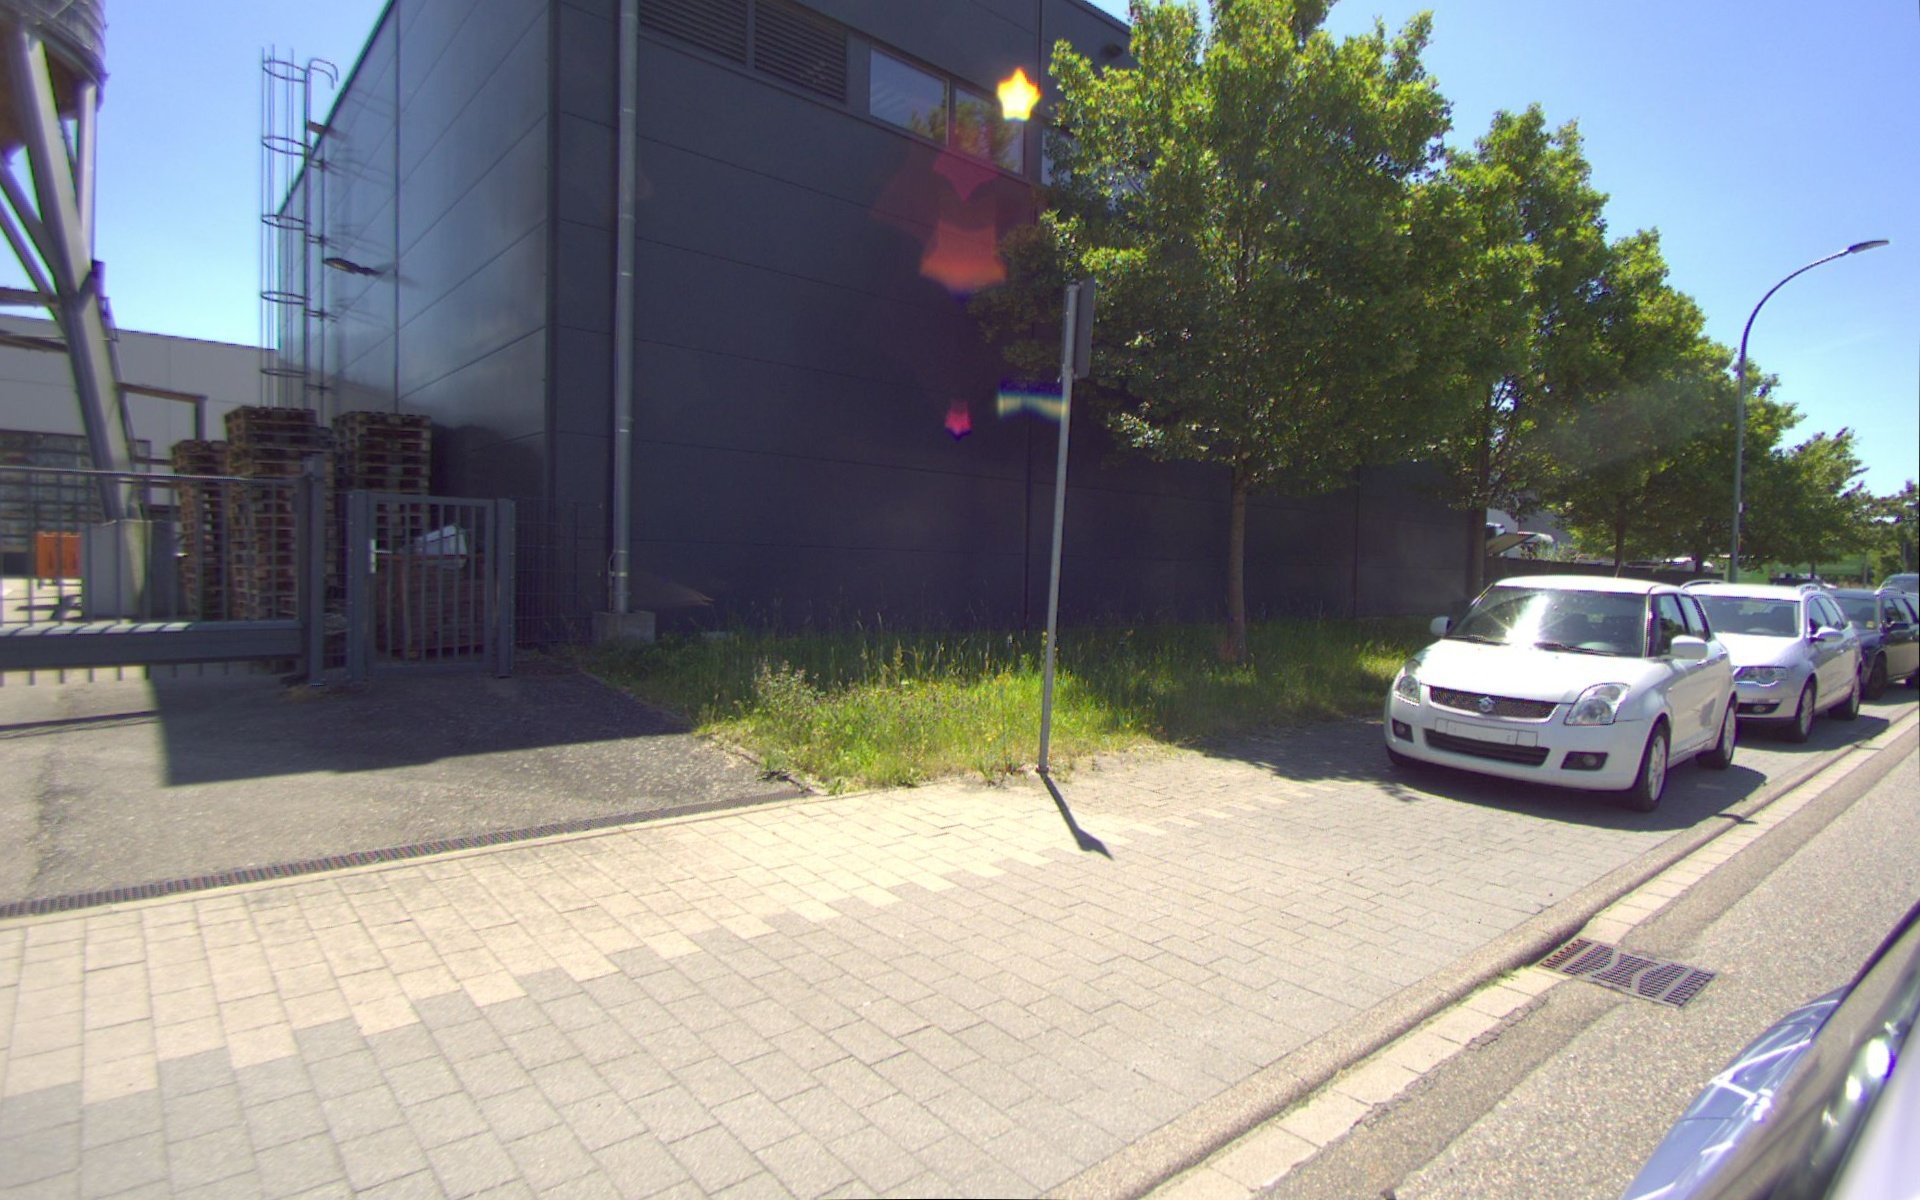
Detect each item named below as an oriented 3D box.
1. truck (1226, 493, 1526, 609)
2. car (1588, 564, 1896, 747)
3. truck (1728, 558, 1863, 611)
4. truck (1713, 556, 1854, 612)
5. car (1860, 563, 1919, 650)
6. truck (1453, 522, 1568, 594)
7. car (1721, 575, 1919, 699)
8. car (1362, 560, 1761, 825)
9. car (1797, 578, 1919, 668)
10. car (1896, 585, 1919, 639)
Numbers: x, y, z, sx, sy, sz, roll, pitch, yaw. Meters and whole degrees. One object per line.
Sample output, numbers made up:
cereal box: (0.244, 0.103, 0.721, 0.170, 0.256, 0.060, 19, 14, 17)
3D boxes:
truck: (15.412, -1.934, 38.209, 9.965, 3.868, 2.995, 4, 3, 40)
car: (8.694, 0.451, 11.109, 4.426, 1.581, 1.752, -1, 3, -40)
truck: (49.906, -0.987, 60.553, 2.268, 2.907, 5.910, -1, 3, -43)
truck: (46.772, -0.975, 57.608, 2.373, 2.948, 5.833, -1, 3, -41)
car: (22.357, 0.115, 23.234, 4.279, 1.847, 1.997, -1, 4, -41)
truck: (31.650, -2.432, 58.287, 2.755, 3.922, 5.074, -2, 3, -40)
car: (13.098, 0.421, 14.912, 4.618, 1.523, 1.715, -1, 3, -36)
car: (4.724, 0.505, 7.732, 3.683, 1.487, 1.638, 0, 4, -44)
car: (17.492, 0.342, 19.101, 4.631, 1.448, 1.854, -1, 4, -41)
car: (26.081, 0.304, 26.512, 4.042, 1.303, 1.716, -2, 4, -39)
